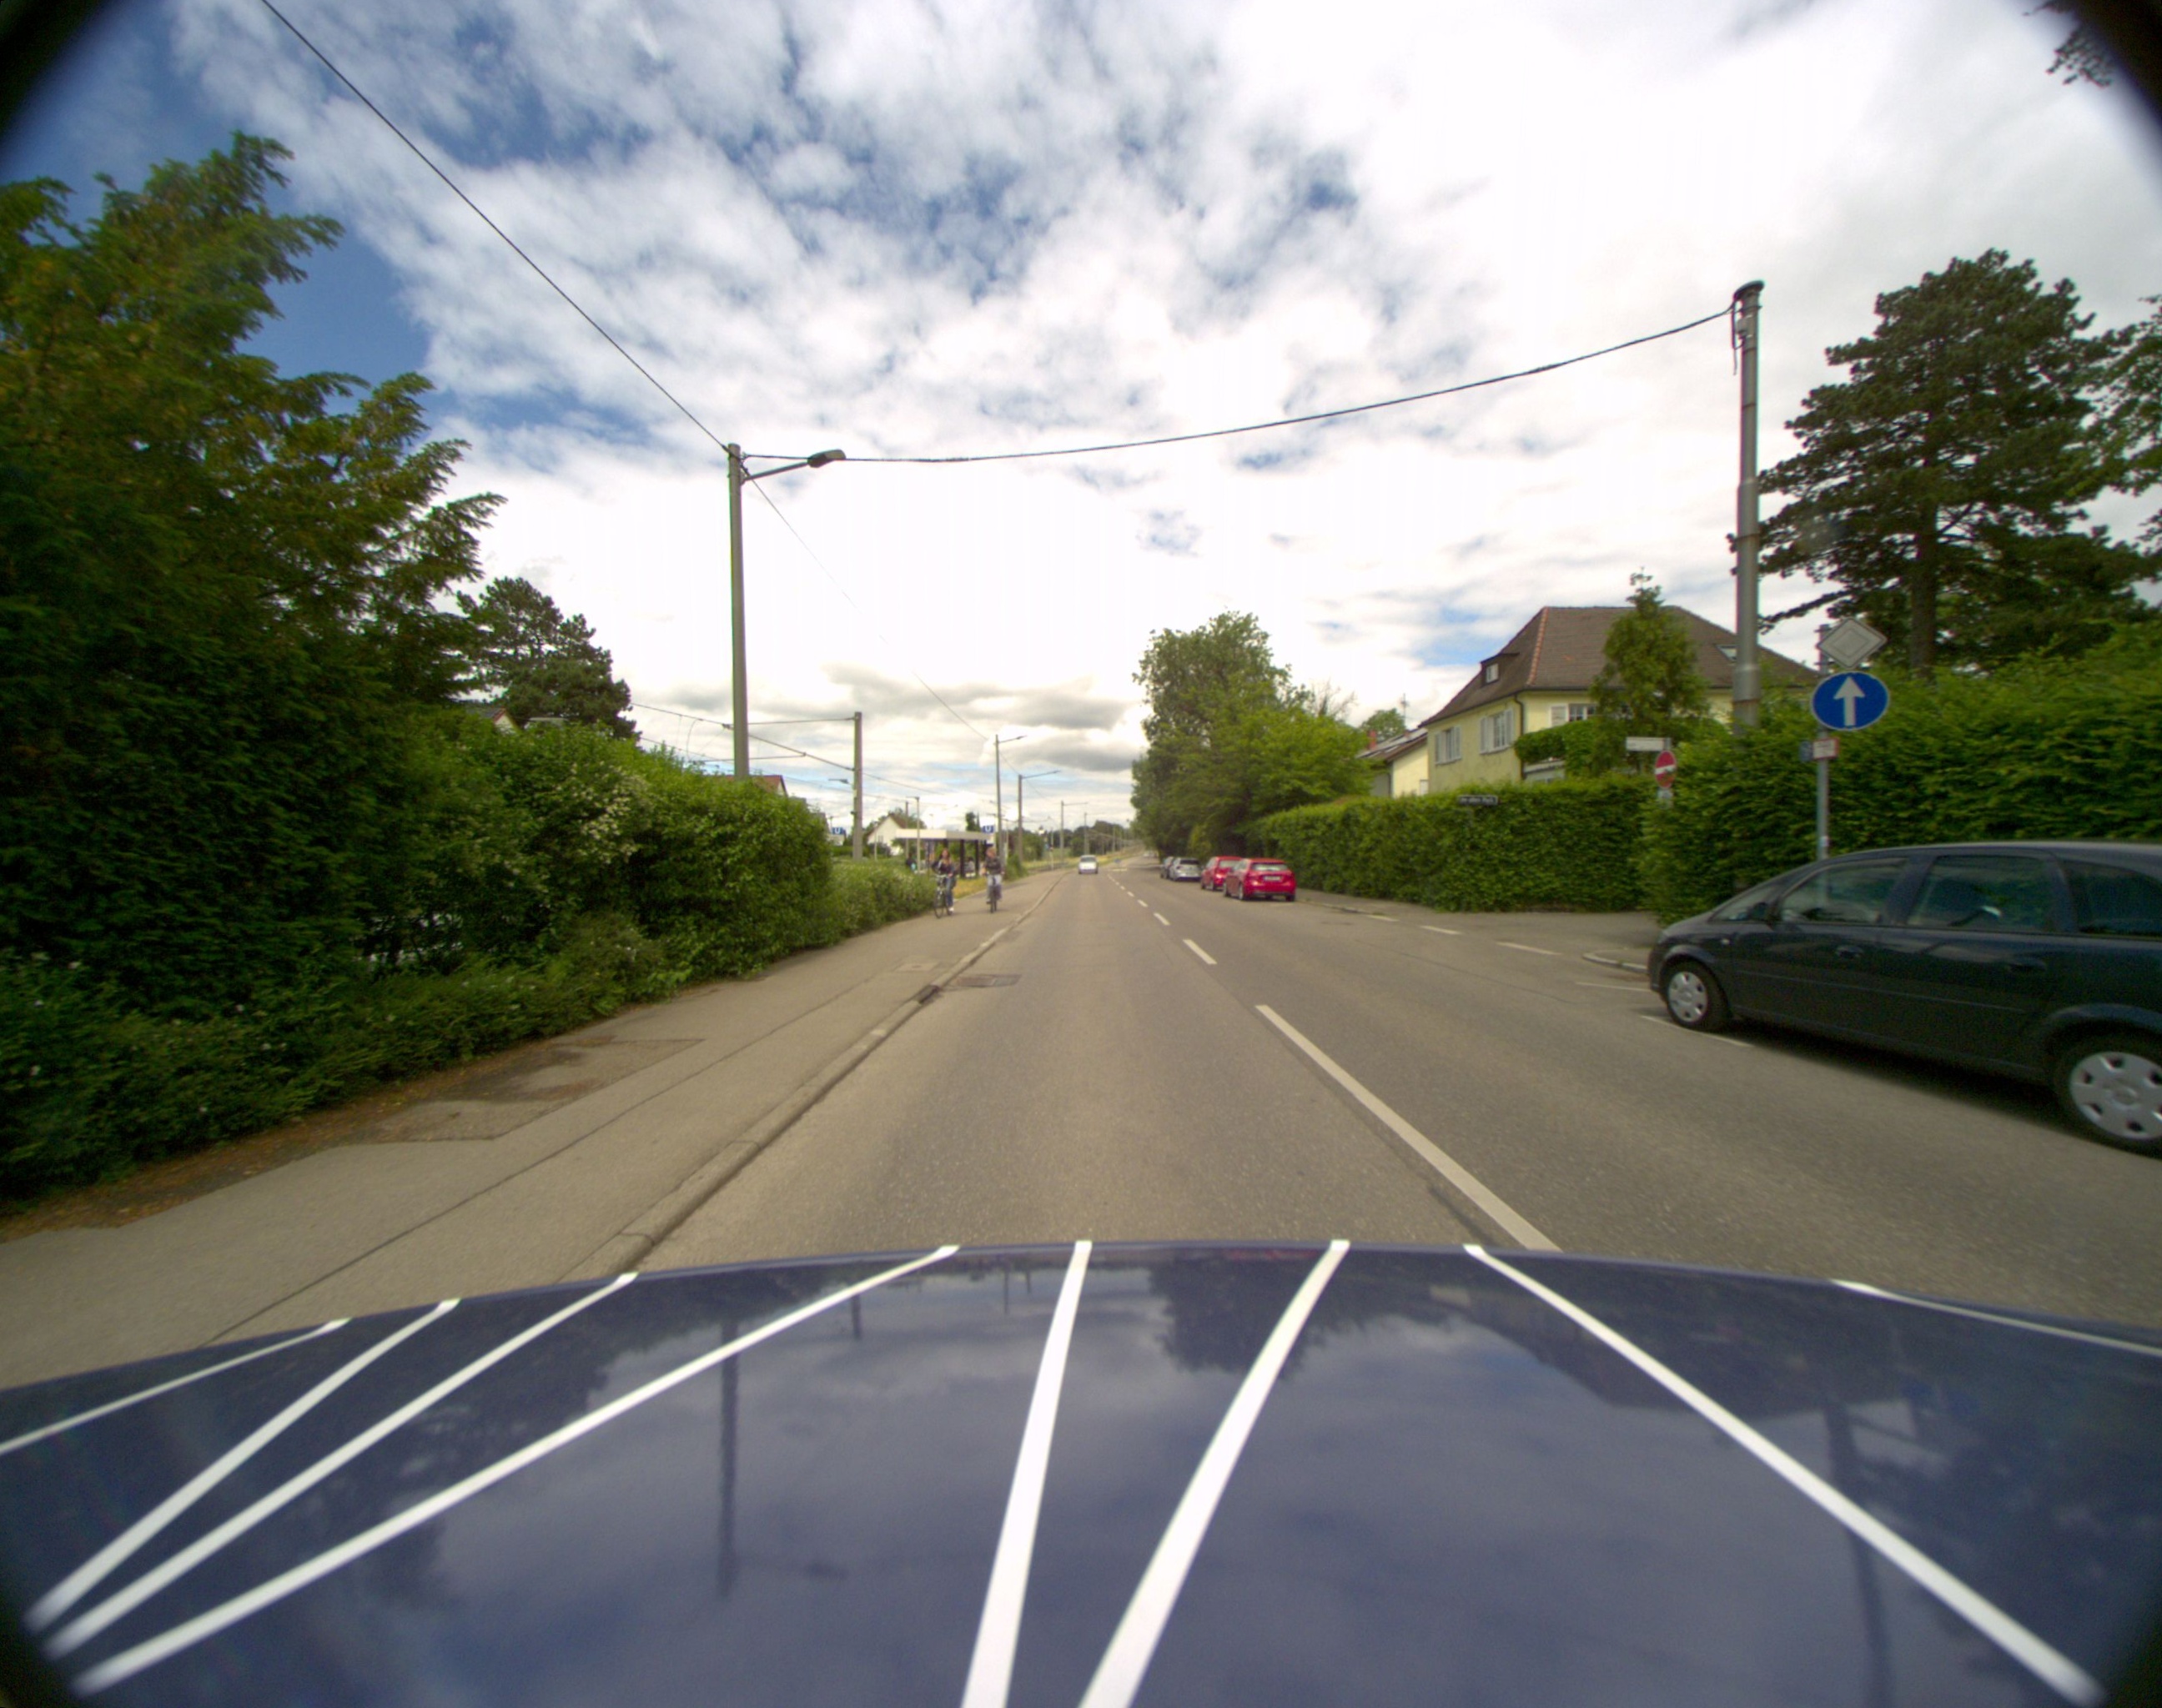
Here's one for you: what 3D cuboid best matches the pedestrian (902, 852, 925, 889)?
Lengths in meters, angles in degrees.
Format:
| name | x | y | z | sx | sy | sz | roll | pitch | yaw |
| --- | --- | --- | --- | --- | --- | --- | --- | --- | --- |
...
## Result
| name | x | y | z | sx | sy | sz | roll | pitch | yaw |
| --- | --- | --- | --- | --- | --- | --- | --- | --- | --- |
| pedestrian | -7.449 | 0.734 | 33.839 | 0.730 | 1.608 | 0.704 | -3 | 1 | -34 |

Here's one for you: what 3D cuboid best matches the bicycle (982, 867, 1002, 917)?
| name | x | y | z | sx | sy | sz | roll | pitch | yaw |
| --- | --- | --- | --- | --- | --- | --- | --- | --- | --- |
| bicycle | -2.509 | 1.028 | 21.466 | 0.451 | 1.278 | 2.206 | -2 | 1 | -5 |

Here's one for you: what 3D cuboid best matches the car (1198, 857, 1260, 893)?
| name | x | y | z | sx | sy | sz | roll | pitch | yaw |
| --- | --- | --- | --- | --- | --- | --- | --- | --- | --- |
| car | 6.382 | 0.860 | 33.128 | 1.853 | 1.442 | 3.748 | -1 | 0 | -1 |

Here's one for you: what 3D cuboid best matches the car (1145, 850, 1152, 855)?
| name | x | y | z | sx | sy | sz | roll | pitch | yaw |
| --- | --- | --- | --- | --- | --- | --- | --- | --- | --- |
| car | 23.136 | -0.626 | 261.493 | 1.998 | 1.739 | 4.000 | -1 | 0 | 1 |

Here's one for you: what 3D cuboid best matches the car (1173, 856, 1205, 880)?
| name | x | y | z | sx | sy | sz | roll | pitch | yaw |
| --- | --- | --- | --- | --- | --- | --- | --- | --- | --- |
| car | 6.457 | 0.835 | 45.837 | 1.676 | 1.363 | 3.607 | 1 | 0 | 5 |

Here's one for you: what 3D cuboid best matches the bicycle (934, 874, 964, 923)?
| name | x | y | z | sx | sy | sz | roll | pitch | yaw |
| --- | --- | --- | --- | --- | --- | --- | --- | --- | --- |
| bicycle | -3.479 | 1.142 | 20.152 | 0.451 | 1.143 | 2.207 | -1 | 1 | -1 |

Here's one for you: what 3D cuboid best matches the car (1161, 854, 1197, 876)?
| name | x | y | z | sx | sy | sz | roll | pitch | yaw |
| --- | --- | --- | --- | --- | --- | --- | --- | --- | --- |
| car | 6.563 | 0.738 | 51.313 | 1.819 | 1.394 | 3.899 | -1 | 0 | -1 |

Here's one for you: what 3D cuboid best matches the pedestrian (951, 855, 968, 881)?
| name | x | y | z | sx | sy | sz | roll | pitch | yaw |
| --- | --- | --- | --- | --- | --- | --- | --- | --- | --- |
| pedestrian | -6.712 | 0.783 | 41.932 | 0.720 | 1.412 | 0.643 | -2 | 1 | 3 |

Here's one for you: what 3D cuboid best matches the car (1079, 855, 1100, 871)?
| name | x | y | z | sx | sy | sz | roll | pitch | yaw |
| --- | --- | --- | --- | --- | --- | --- | --- | --- | --- |
| car | 0.735 | 0.765 | 67.043 | 1.666 | 1.394 | 3.899 | -1 | 0 | -1 |

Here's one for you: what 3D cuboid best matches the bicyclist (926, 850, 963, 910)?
| name | x | y | z | sx | sy | sz | roll | pitch | yaw |
| --- | --- | --- | --- | --- | --- | --- | --- | --- | --- |
| bicyclist | -3.584 | 0.674 | 20.041 | 0.826 | 1.529 | 0.861 | -1 | 1 | -2 |

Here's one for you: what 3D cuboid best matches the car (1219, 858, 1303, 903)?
| name | x | y | z | sx | sy | sz | roll | pitch | yaw |
| --- | --- | --- | --- | --- | --- | --- | --- | --- | --- |
| car | 6.139 | 0.854 | 26.416 | 1.971 | 1.394 | 4.065 | -1 | 0 | 0 |

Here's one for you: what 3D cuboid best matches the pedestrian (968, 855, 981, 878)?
| name | x | y | z | sx | sy | sz | roll | pitch | yaw |
| --- | --- | --- | --- | --- | --- | --- | --- | --- | --- |
| pedestrian | -6.181 | 0.728 | 43.980 | 0.588 | 1.272 | 0.582 | -2 | 1 | 3 |

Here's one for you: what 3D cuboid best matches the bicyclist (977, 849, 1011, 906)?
| name | x | y | z | sx | sy | sz | roll | pitch | yaw |
| --- | --- | --- | --- | --- | --- | --- | --- | --- | --- |
| bicyclist | -2.427 | 0.627 | 21.190 | 0.827 | 1.530 | 0.861 | -2 | 1 | -3 |

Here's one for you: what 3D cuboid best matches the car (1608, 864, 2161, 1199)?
| name | x | y | z | sx | sy | sz | roll | pitch | yaw |
| --- | --- | --- | --- | --- | --- | --- | --- | --- | --- |
| car | 5.973 | 0.860 | 5.178 | 1.762 | 1.525 | 4.327 | 0 | 0 | 0 |
